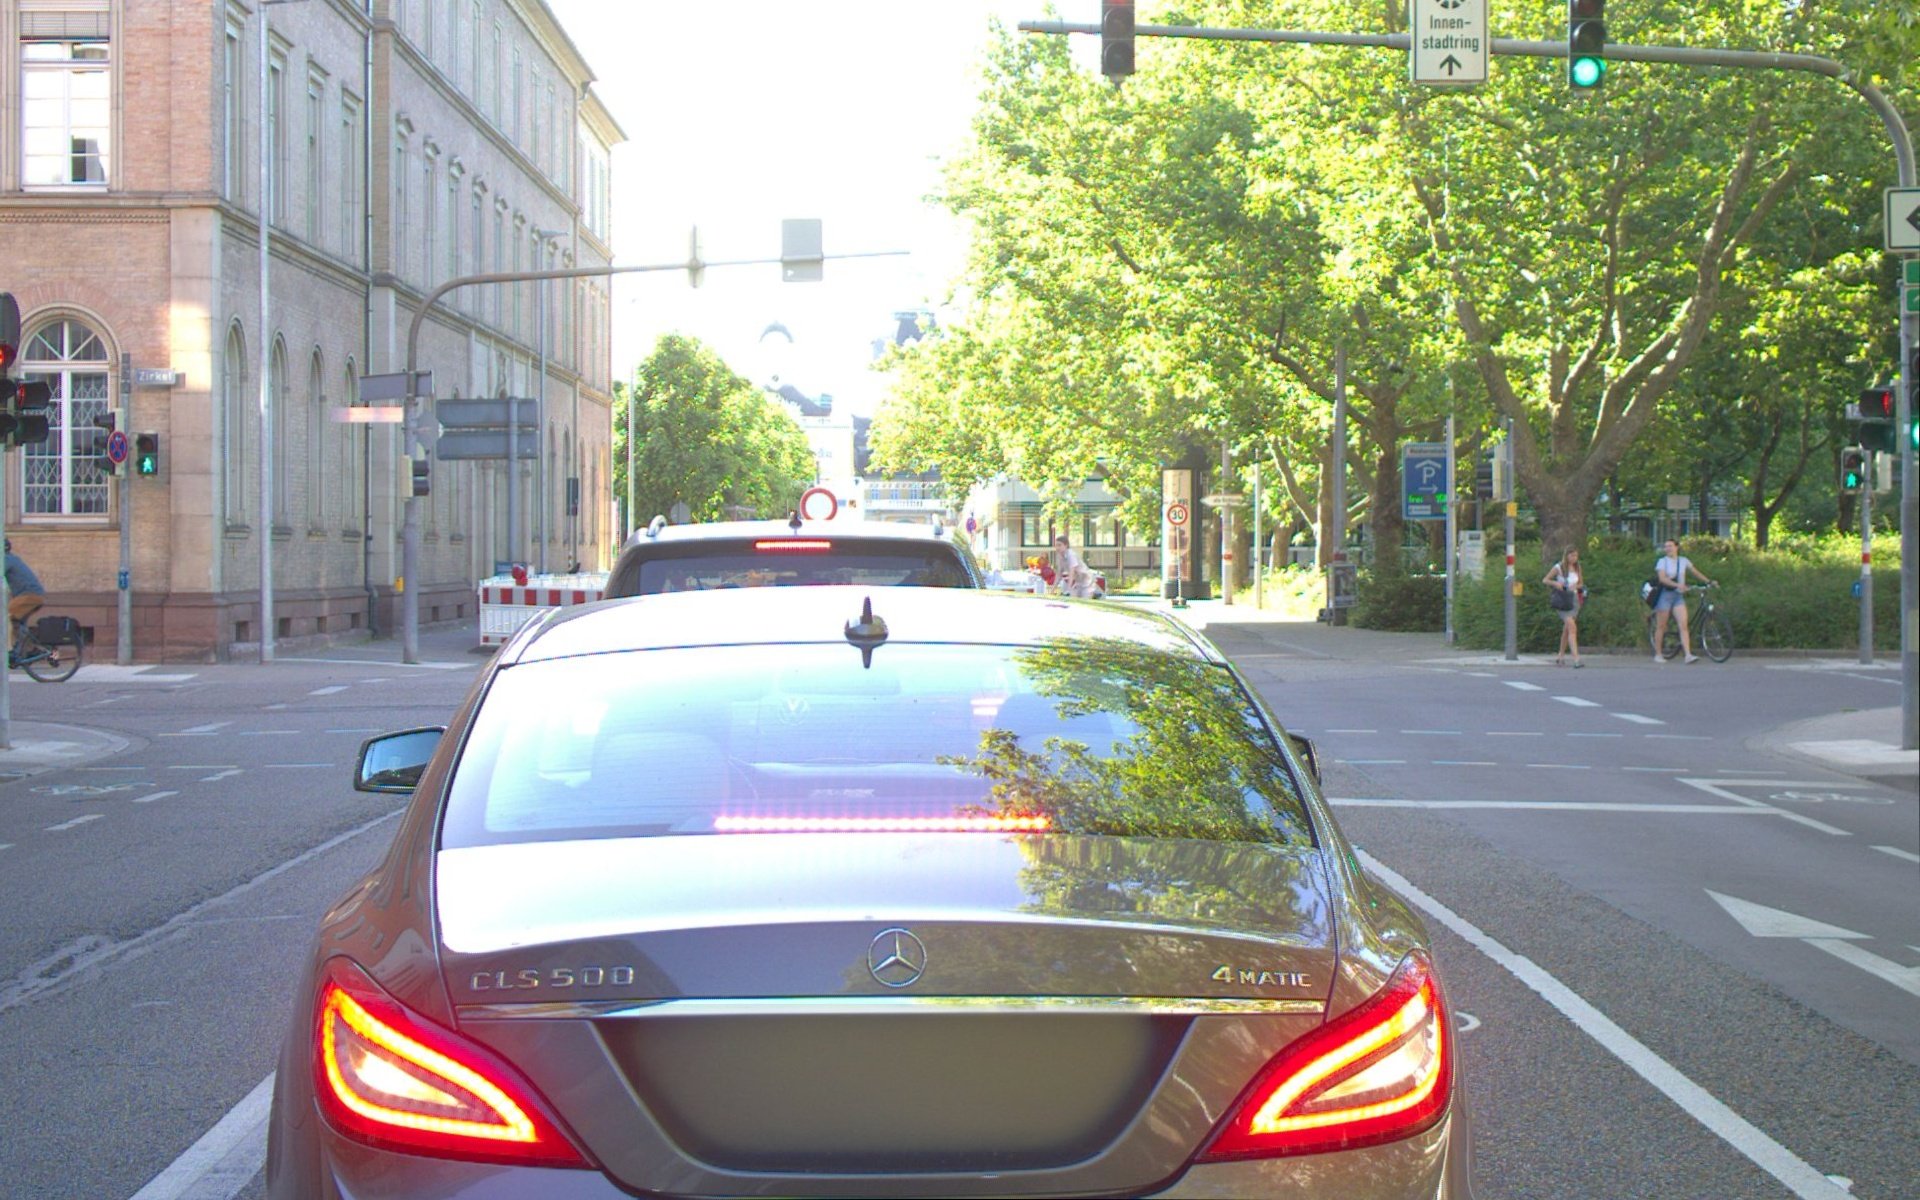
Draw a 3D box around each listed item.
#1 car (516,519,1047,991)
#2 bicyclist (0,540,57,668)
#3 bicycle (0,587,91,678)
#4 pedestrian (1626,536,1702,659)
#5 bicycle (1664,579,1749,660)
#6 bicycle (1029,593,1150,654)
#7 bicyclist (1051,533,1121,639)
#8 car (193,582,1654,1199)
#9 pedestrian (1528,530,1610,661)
[{"bbox_3d":[-0.576,0.512,13.749,1.809,1.607,4.000,0,1,1],"label":"car"},{"bbox_3d":[-11.241,0.045,40.734,0.949,1.495,0.822,1,0,-9],"label":"bicyclist"},{"bbox_3d":[-11.343,0.376,40.717,1.956,1.059,0.706,1,0,-8],"label":"bicycle"},{"bbox_3d":[9.802,-0.040,47.888,0.683,1.691,0.971,1,0,-12],"label":"pedestrian"},{"bbox_3d":[10.327,0.261,47.632,0.524,1.096,1.742,1,1,-10],"label":"bicycle"},{"bbox_3d":[1.935,0.346,51.260,1.862,0.888,0.550,0,1,-36],"label":"bicycle"},{"bbox_3d":[1.878,-0.210,51.213,0.804,1.553,0.650,0,1,-37],"label":"bicyclist"},{"bbox_3d":[-0.258,0.703,6.592,1.842,1.424,4.518,1,1,-6],"label":"car"},{"bbox_3d":[8.450,-0.059,47.723,0.732,1.802,0.909,0,-1,-21],"label":"pedestrian"}]
